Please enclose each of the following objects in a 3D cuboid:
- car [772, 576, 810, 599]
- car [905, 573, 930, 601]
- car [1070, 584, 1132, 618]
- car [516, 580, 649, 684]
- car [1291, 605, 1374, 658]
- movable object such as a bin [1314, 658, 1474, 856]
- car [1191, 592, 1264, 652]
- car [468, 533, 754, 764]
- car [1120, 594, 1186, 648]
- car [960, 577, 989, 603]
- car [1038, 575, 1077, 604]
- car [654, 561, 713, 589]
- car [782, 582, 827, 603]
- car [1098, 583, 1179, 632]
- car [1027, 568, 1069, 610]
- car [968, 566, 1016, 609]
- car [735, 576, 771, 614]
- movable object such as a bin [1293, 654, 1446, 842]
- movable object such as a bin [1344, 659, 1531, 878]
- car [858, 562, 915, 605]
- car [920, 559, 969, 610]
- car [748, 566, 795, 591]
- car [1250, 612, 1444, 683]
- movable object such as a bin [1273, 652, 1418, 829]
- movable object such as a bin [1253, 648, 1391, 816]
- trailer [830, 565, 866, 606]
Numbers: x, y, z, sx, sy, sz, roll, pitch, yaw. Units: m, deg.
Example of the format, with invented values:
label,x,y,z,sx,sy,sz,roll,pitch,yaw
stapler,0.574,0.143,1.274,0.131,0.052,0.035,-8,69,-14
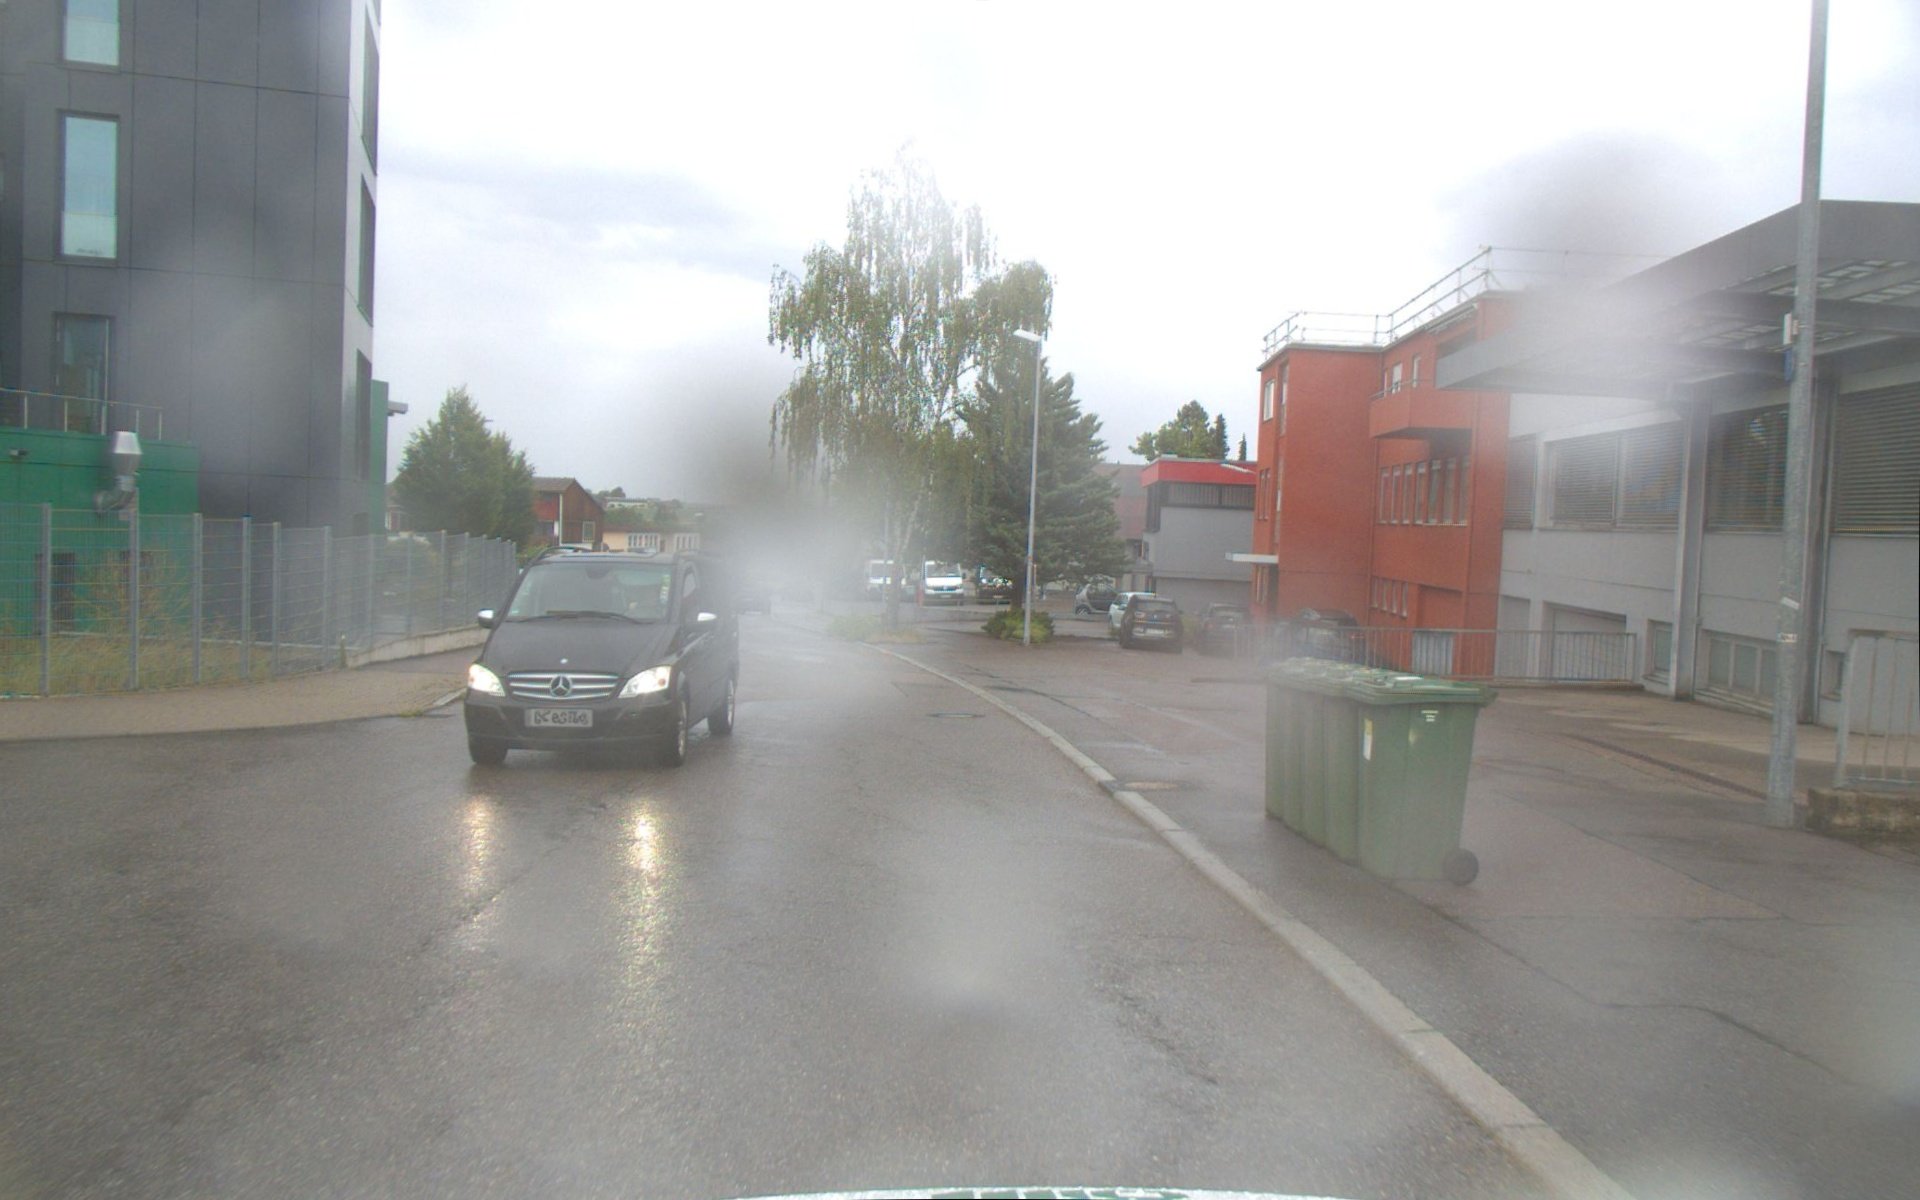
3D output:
label,x,y,z,sx,sy,sz,roll,pitch,yaw
car,-13.919,-1.022,136.071,1.967,1.734,3.971,2,-1,-23
car,-2.352,-0.679,90.462,1.264,1.449,2.544,2,-1,-3
car,6.082,0.035,71.584,2.496,1.375,1.242,2,0,-2
car,-6.046,0.508,26.862,1.737,1.539,4.137,1,-1,-8
car,10.984,0.934,48.972,1.693,1.447,4.001,2,-1,3
movable object such as a bin,2.547,0.909,9.747,0.759,1.095,0.583,1,0,-2
car,8.048,0.682,50.029,1.703,1.682,4.001,2,-1,3
car,-3.220,0.400,16.328,1.847,1.919,5.070,0,0,-1
car,5.726,0.630,49.446,1.662,1.501,4.001,2,-1,3
car,0.780,-0.538,91.307,1.370,1.349,2.699,2,-1,-3
car,5.387,-0.581,91.687,1.605,1.479,3.506,2,-1,-6
car,-20.546,-1.868,123.153,3.904,1.914,2.001,2,0,3
car,-12.283,-0.569,130.414,2.427,1.566,3.971,2,-1,-23
car,6.098,0.270,56.923,2.025,1.579,3.996,2,-1,-5
car,4.539,-0.528,85.876,1.746,2.049,3.630,2,-1,-3
car,1.635,-0.621,85.613,2.103,2.049,3.936,2,-1,-3
car,-11.735,-0.271,93.844,1.833,2.064,3.995,2,-1,-6
movable object such as a bin,2.543,0.907,10.323,0.793,1.109,0.541,1,0,-2
movable object such as a bin,2.609,0.905,9.096,0.790,1.112,0.709,1,0,-2
car,-3.791,-0.804,84.493,2.225,2.049,3.988,2,-1,-12
car,-0.825,-0.761,84.782,2.150,2.502,3.995,2,-1,-5
car,-18.779,-2.149,164.777,4.150,2.265,2.001,2,-1,9
car,7.311,0.884,31.501,3.329,1.183,1.793,2,0,5
movable object such as a bin,2.524,0.912,10.884,0.792,1.095,0.581,1,0,-2
movable object such as a bin,2.503,0.901,11.489,0.786,1.098,0.624,1,0,-2
trailer,-6.019,-0.772,88.616,1.816,2.049,3.996,2,0,-4
